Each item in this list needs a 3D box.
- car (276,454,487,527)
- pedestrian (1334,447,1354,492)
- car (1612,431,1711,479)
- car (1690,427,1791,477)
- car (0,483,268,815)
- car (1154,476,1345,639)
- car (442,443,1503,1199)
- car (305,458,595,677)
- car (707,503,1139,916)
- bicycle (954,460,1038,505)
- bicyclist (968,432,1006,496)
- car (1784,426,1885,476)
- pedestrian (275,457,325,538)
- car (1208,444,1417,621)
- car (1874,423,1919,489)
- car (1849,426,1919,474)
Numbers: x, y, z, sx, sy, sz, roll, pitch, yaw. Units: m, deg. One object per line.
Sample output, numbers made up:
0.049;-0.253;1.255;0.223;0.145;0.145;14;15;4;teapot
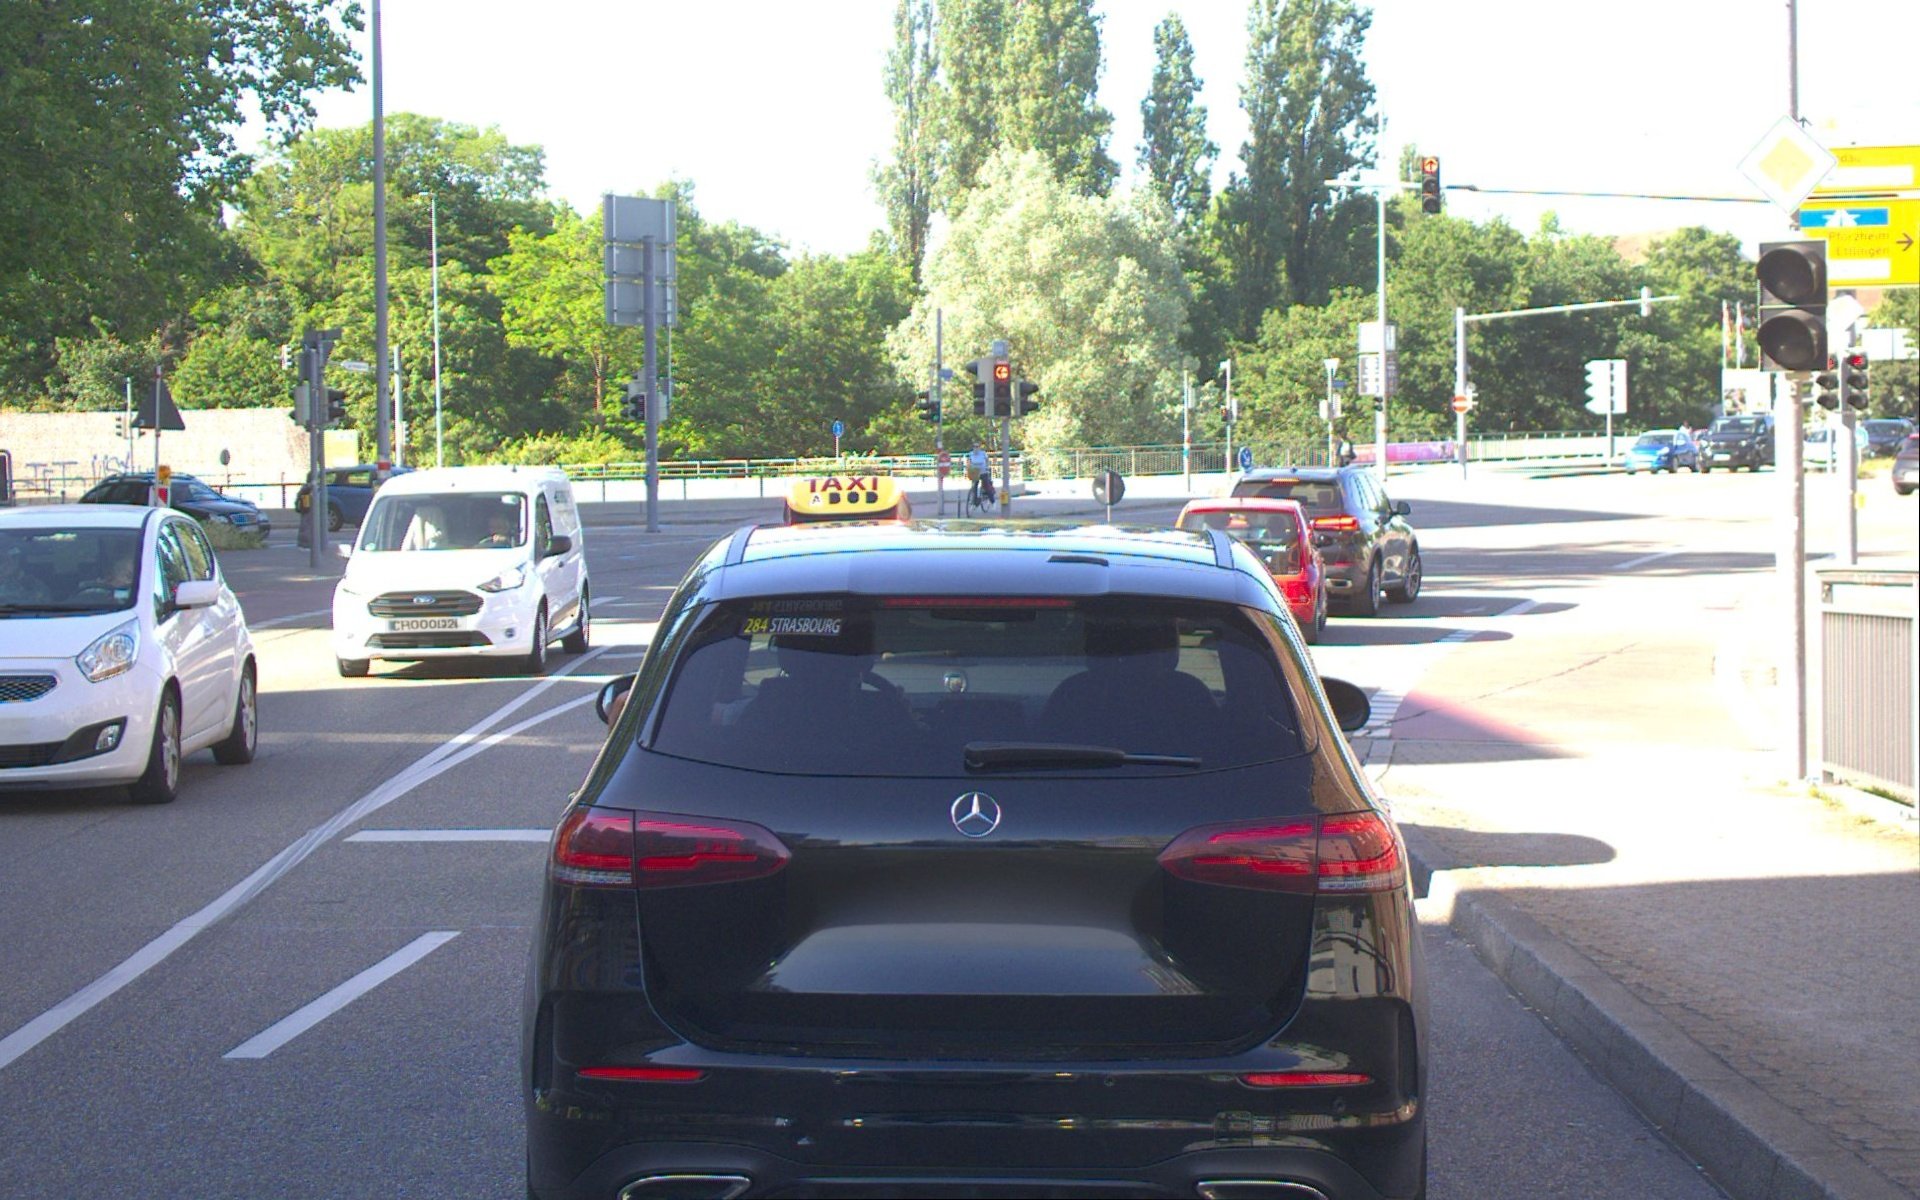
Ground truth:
-13.317;-2.527;79.143;4.401;1.624;1.889;0;2;21;car
13.381;-4.543;119.687;0.451;1.580;0.500;0;3;40;pedestrian
23.941;-4.941;117.232;1.882;1.573;3.992;1;3;35;car
25.760;-4.896;113.443;1.882;1.573;3.992;1;3;35;car
-5.107;0.195;19.269;1.777;1.629;4.001;-2;2;-3;car
3.103;-0.489;36.310;1.722;1.516;3.485;0;4;10;car
-0.029;0.484;8.129;1.877;1.608;4.001;1;1;-1;car
-4.569;-0.378;31.504;1.918;1.788;4.899;-2;2;0;car
-0.117;0.379;15.092;1.640;1.524;3.474;-1;2;1;car
0.901;-2.918;85.077;1.983;1.046;0.527;-2;2;-11;bicycle
0.665;-3.365;85.006;0.804;1.545;0.527;-2;2;-11;bicyclist
28.478;-4.858;111.879;1.882;1.573;3.992;1;3;35;car
-12.400;-1.928;64.616;0.705;1.520;0.743;1;2;9;pedestrian
4.342;-0.864;41.787;1.723;1.805;4.295;0;6;17;car
25.117;-3.688;87.778;1.889;1.624;3.991;1;3;40;car
31.895;-5.121;117.083;1.882;1.573;3.992;1;3;35;car
